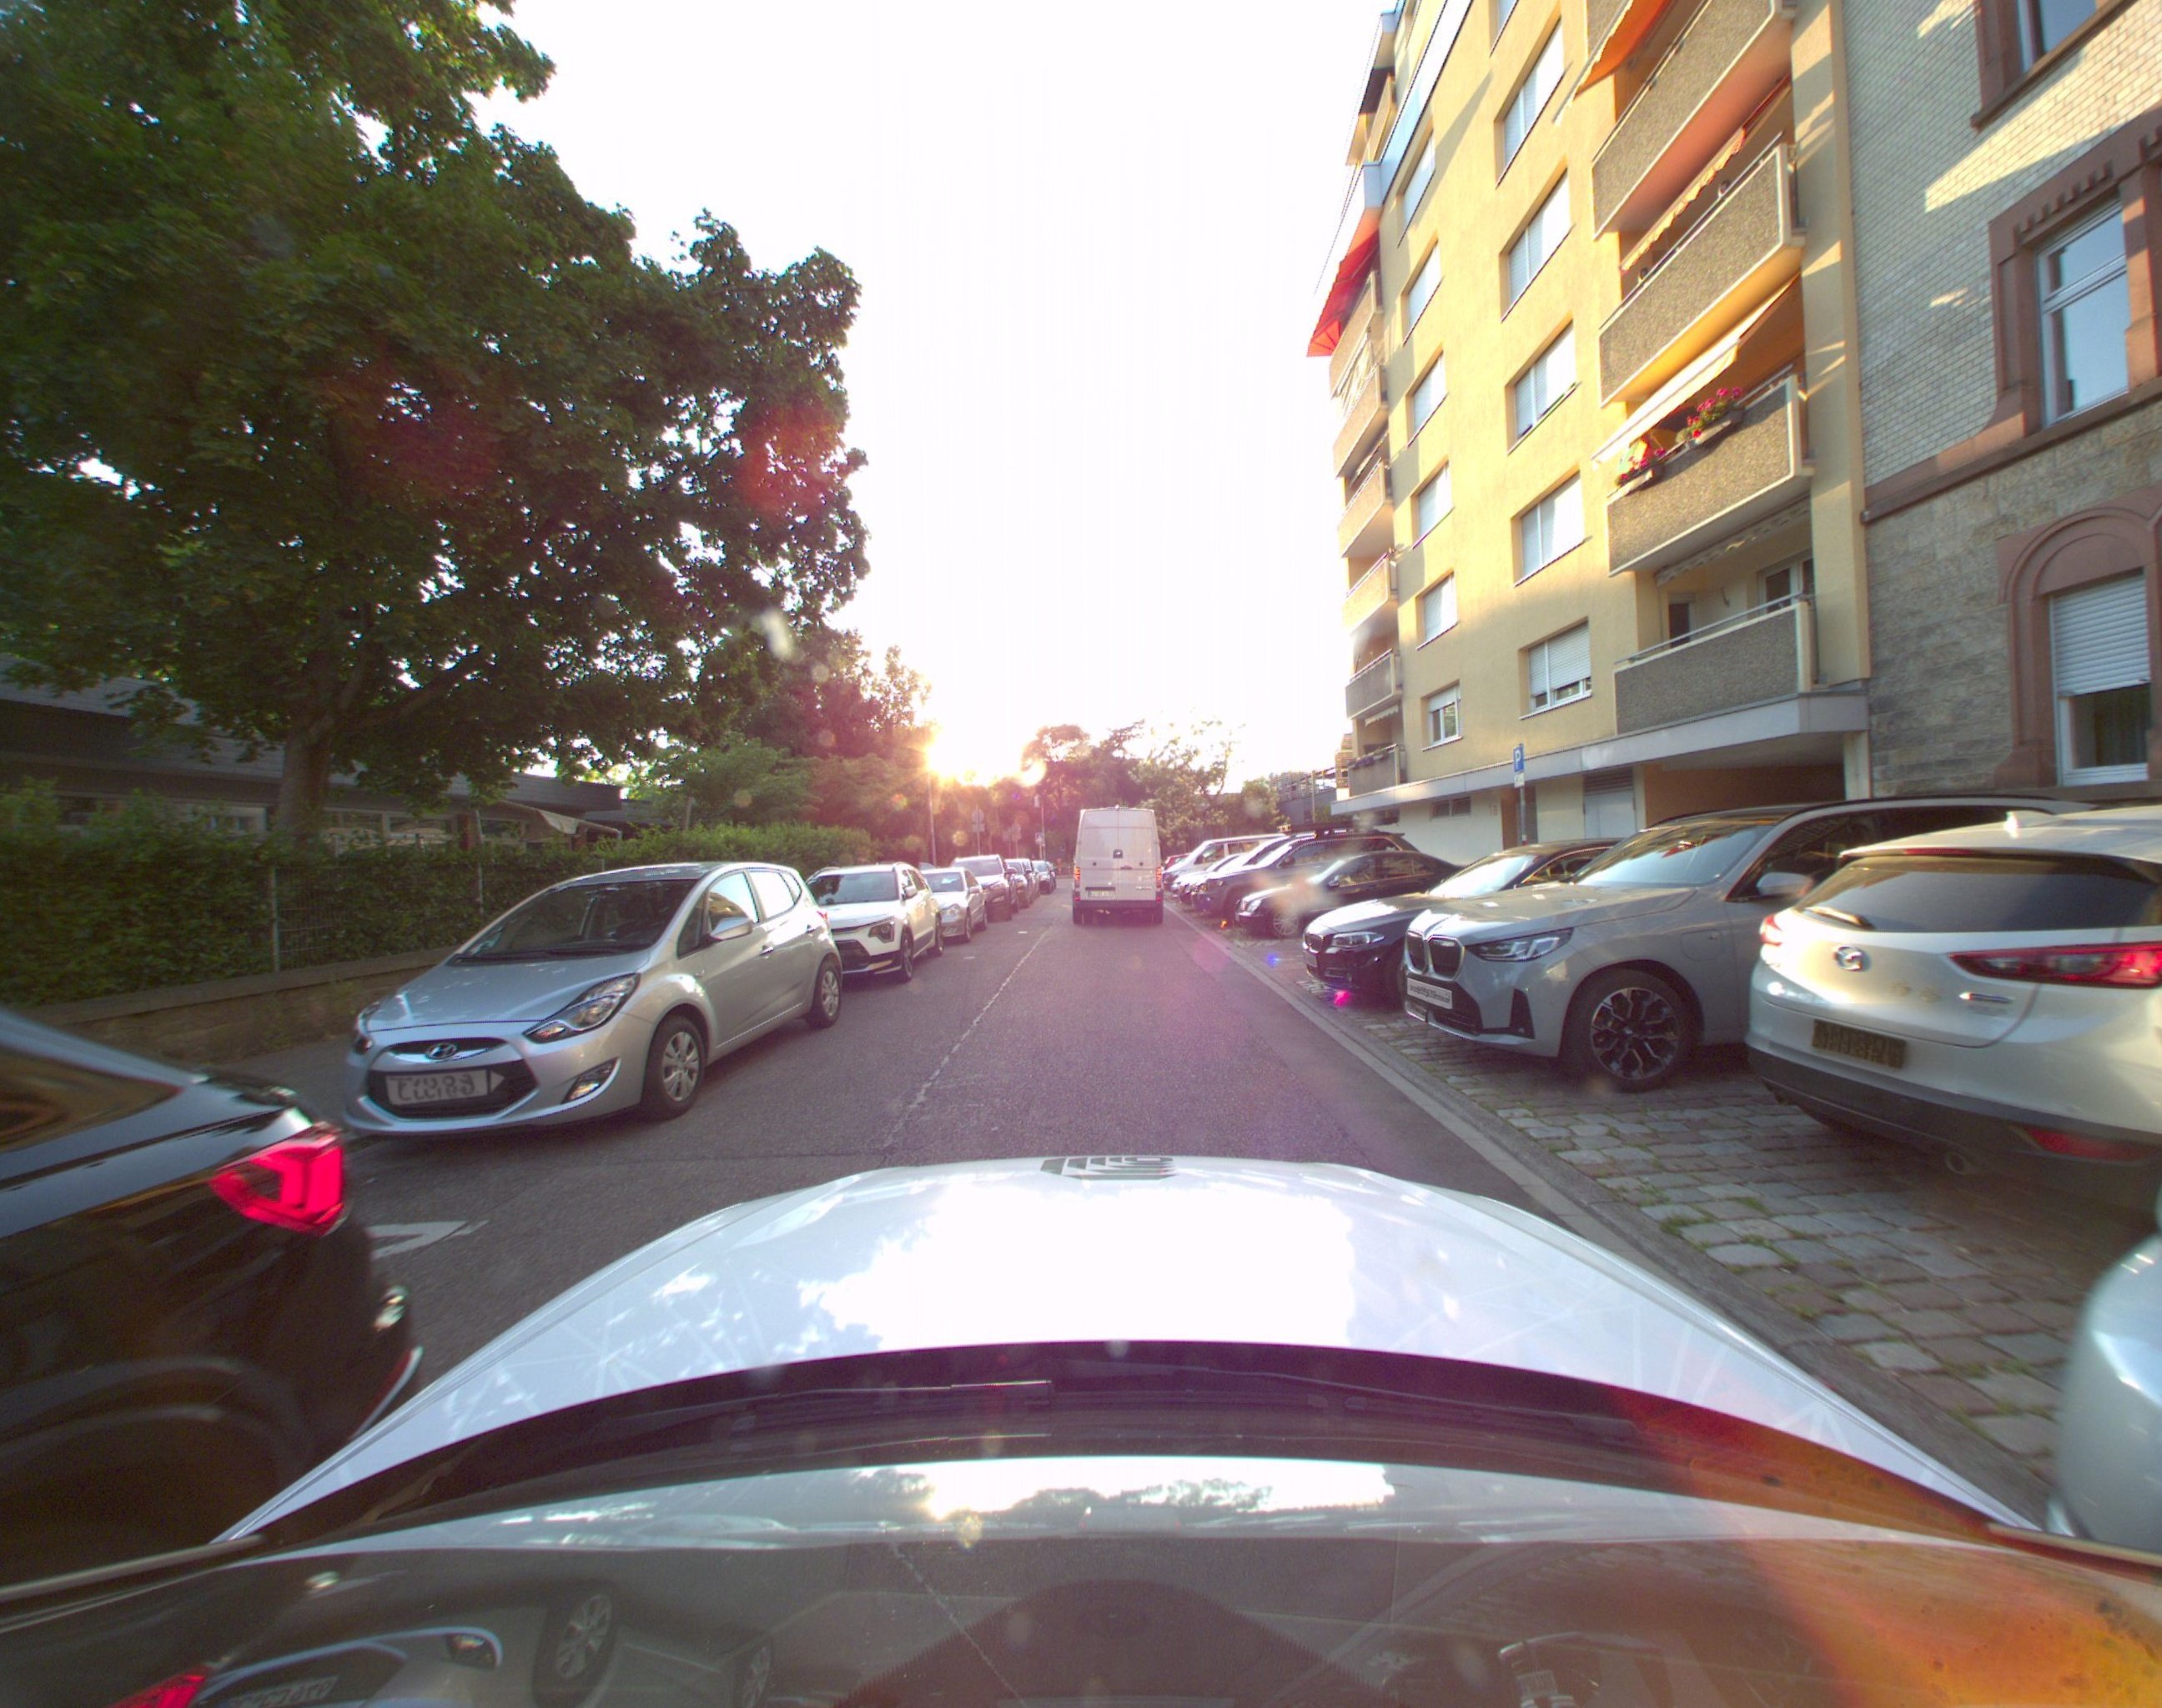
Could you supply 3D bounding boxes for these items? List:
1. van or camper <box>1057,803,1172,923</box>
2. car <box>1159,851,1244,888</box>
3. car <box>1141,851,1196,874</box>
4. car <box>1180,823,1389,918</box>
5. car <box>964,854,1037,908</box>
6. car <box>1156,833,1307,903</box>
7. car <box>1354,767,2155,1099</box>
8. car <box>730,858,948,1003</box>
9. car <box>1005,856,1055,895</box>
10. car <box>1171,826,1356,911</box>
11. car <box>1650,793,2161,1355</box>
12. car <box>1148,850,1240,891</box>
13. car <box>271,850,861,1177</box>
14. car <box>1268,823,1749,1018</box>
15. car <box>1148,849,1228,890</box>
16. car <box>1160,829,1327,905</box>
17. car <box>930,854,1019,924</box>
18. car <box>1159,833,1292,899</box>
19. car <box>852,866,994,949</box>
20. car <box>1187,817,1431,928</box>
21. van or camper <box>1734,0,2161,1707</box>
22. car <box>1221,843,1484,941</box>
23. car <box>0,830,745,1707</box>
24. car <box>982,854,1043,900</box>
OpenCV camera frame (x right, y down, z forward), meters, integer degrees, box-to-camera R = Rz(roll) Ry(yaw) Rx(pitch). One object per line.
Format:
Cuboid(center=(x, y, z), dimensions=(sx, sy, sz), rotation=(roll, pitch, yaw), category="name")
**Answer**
Cuboid(center=(0.929, 0.200, 20.393), dimensions=(2.443, 2.547, 6.090), rotation=(0, 0, 4), category="van or camper")
Cuboid(center=(5.927, 0.750, 40.519), dimensions=(3.972, 1.728, 2.001), rotation=(-1, 0, 2), category="car")
Cuboid(center=(6.739, 0.648, 62.791), dimensions=(3.977, 1.618, 1.998), rotation=(-1, 0, -3), category="car")
Cuboid(center=(4.947, 0.379, 20.332), dimensions=(4.691, 2.145, 2.000), rotation=(-1, 0, -1), category="car")
Cuboid(center=(-2.562, 0.835, 26.968), dimensions=(1.987, 1.618, 3.999), rotation=(-1, 0, 0), category="car")
Cuboid(center=(4.993, 0.459, 27.439), dimensions=(4.691, 2.145, 2.000), rotation=(-1, 0, -1), category="car")
Cuboid(center=(4.503, 0.441, 5.844), dimensions=(4.427, 1.728, 1.769), rotation=(-3, 0, -5), category="car")
Cuboid(center=(-3.142, 0.900, 11.519), dimensions=(1.851, 1.555, 4.097), rotation=(-4, 0, -1), category="car")
Cuboid(center=(-2.238, 0.933, 36.998), dimensions=(1.987, 1.618, 3.999), rotation=(-1, 0, 0), category="car")
Cuboid(center=(4.997, 0.382, 22.759), dimensions=(4.691, 2.145, 2.000), rotation=(-1, 0, -1), category="car")
Cuboid(center=(5.163, 0.507, 3.407), dimensions=(4.427, 1.595, 1.769), rotation=(-3, 0, -5), category="car")
Cuboid(center=(5.131, 0.751, 37.492), dimensions=(3.972, 1.728, 2.001), rotation=(-1, 0, 2), category="car")
Cuboid(center=(-3.319, 0.864, 6.360), dimensions=(1.776, 1.631, 4.004), rotation=(-4, 0, 3), category="car")
Cuboid(center=(4.198, 0.607, 8.452), dimensions=(3.978, 1.453, 1.833), rotation=(-5, 0, -3), category="car")
Cuboid(center=(5.582, 0.792, 42.846), dimensions=(3.970, 2.013, 2.002), rotation=(-1, 0, 3), category="car")
Cuboid(center=(4.890, 0.385, 24.994), dimensions=(4.691, 2.145, 2.000), rotation=(-1, 0, -1), category="car")
Cuboid(center=(-2.729, 0.856, 21.760), dimensions=(1.989, 1.662, 3.996), rotation=(-1, 0, -3), category="car")
Cuboid(center=(5.172, 0.421, 29.622), dimensions=(4.480, 2.230, 2.032), rotation=(-1, 0, 0), category="car")
Cuboid(center=(-3.042, 0.984, 16.564), dimensions=(1.986, 1.398, 4.001), rotation=(-1, 0, 1), category="car")
Cuboid(center=(4.793, 0.378, 17.650), dimensions=(4.691, 2.145, 2.000), rotation=(-1, 0, -1), category="car")
Cuboid(center=(4.130, -0.319, 0.397), dimensions=(5.909, 2.770, 2.109), rotation=(-1, 0, 0), category="van or camper")
Cuboid(center=(4.850, 0.658, 14.972), dimensions=(4.222, 1.425, 1.719), rotation=(-4, 0, 0), category="car")
Cuboid(center=(-2.257, 0.801, 0.244), dimensions=(1.794, 1.569, 4.576), rotation=(-3, 0, 9), category="car")
Cuboid(center=(-2.559, 0.841, 31.281), dimensions=(1.987, 1.618, 3.999), rotation=(-1, 0, 0), category="car")
